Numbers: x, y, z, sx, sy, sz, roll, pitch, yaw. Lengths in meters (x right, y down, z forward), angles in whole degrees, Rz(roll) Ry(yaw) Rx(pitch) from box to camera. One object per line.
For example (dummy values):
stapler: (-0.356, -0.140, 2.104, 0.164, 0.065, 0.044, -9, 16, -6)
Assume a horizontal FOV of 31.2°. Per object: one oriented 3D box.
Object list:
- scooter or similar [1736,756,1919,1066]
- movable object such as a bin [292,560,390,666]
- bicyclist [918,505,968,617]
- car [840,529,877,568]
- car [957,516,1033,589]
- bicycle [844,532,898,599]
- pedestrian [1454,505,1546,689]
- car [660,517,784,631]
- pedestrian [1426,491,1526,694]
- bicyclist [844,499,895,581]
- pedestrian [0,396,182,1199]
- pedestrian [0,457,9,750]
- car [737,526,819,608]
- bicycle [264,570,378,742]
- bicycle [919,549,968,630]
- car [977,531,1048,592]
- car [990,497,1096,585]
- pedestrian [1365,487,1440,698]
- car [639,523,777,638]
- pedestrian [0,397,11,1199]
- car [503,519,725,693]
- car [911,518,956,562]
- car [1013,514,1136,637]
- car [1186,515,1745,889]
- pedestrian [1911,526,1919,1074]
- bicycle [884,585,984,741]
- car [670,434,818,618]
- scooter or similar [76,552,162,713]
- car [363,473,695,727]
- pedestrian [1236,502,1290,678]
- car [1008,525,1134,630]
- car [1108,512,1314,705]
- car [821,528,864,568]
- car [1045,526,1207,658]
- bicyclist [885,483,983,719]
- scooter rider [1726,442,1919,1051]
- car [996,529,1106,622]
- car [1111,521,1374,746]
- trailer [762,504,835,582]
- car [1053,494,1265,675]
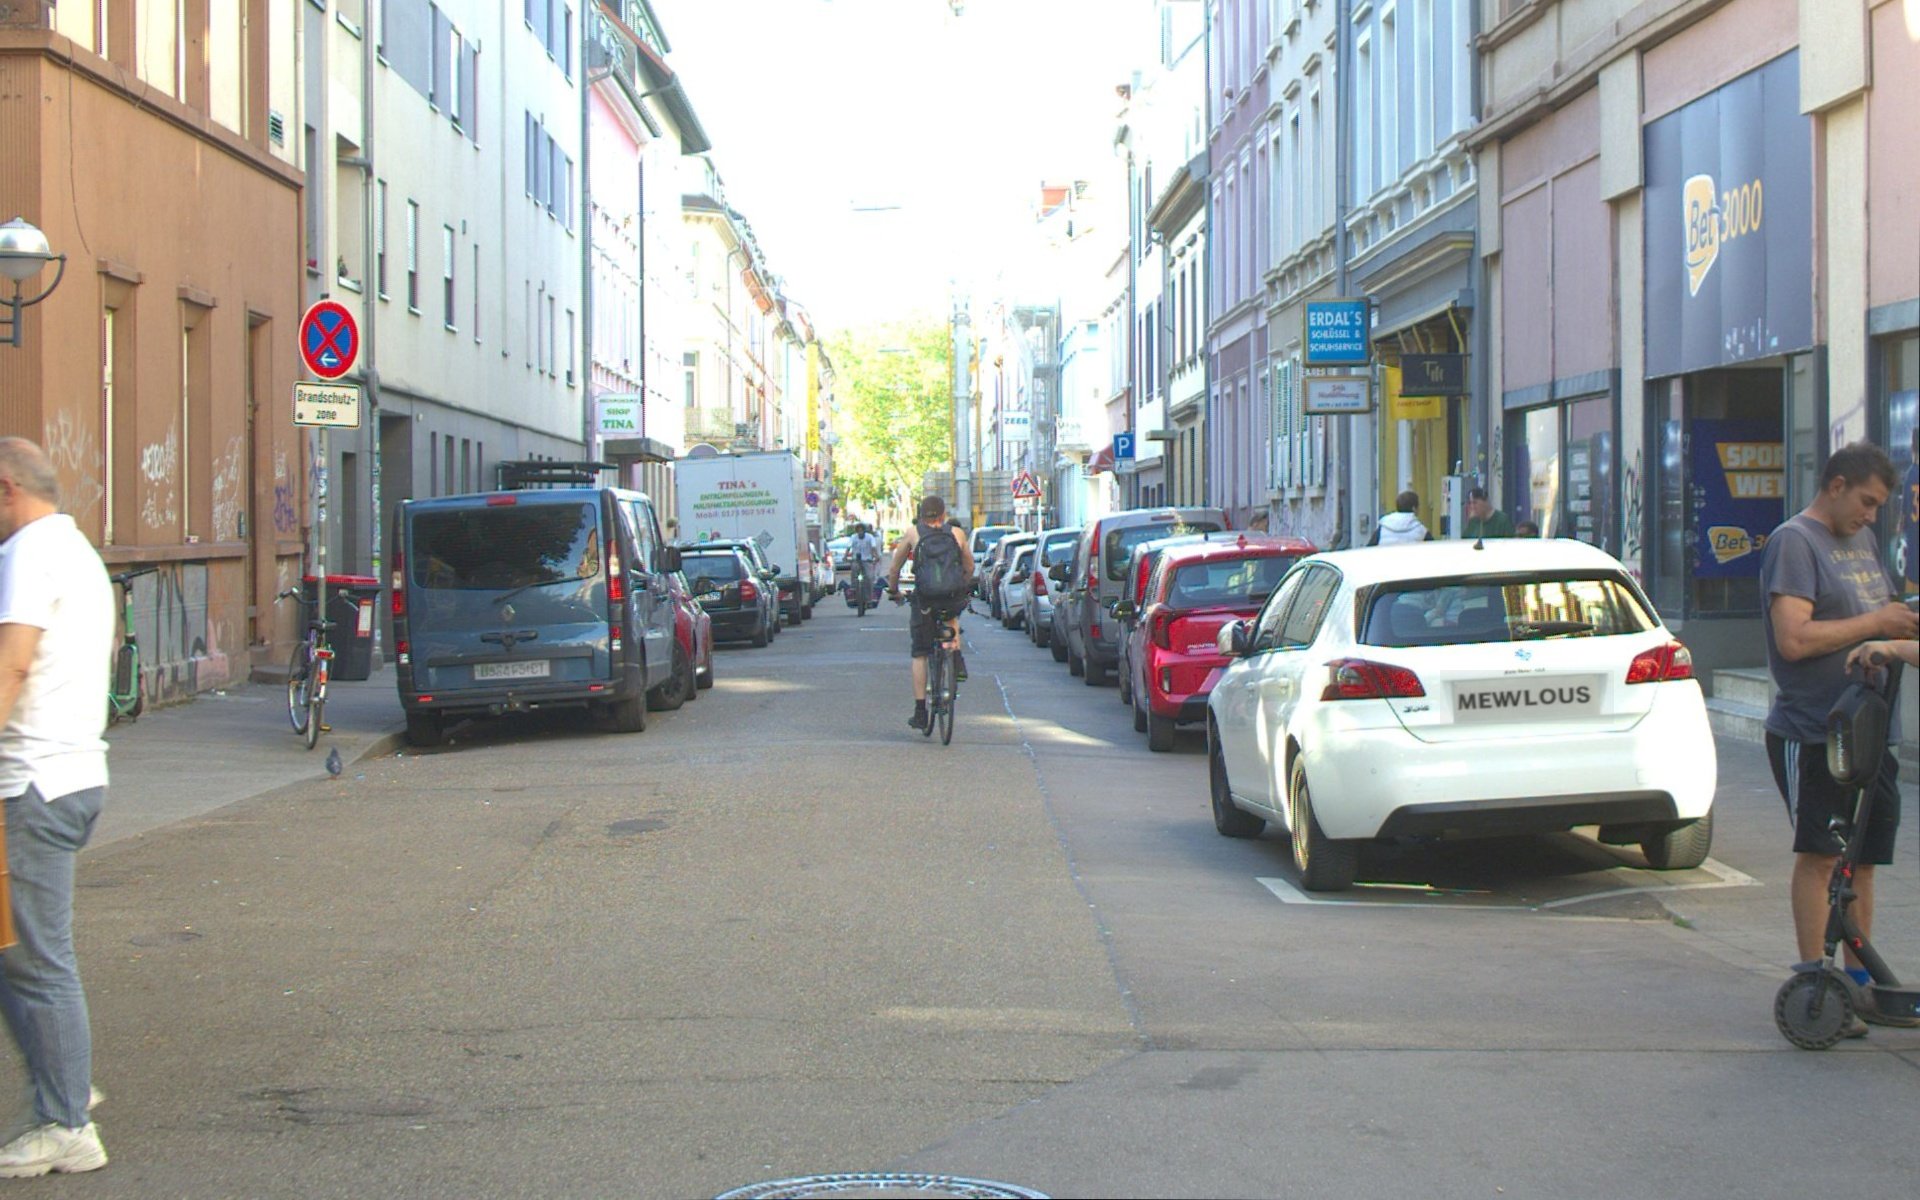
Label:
scooter or similar: (2.621, 0.906, 10.227, 0.393, 0.825, 0.926, 1, 1, 0)
movable object such as a bin: (-6.360, 0.129, 35.320, 0.760, 1.063, 0.651, 1, 0, 19)
bicyclist: (-0.249, -0.556, 48.936, 0.671, 1.562, 0.716, 1, 0, -2)
car: (-4.916, -2.492, 166.745, 1.750, 1.815, 3.796, -1, 1, -1)
car: (0.911, -1.276, 92.516, 1.750, 1.872, 3.973, -1, 1, -3)
bicycle: (-1.808, -0.717, 70.015, 0.977, 1.310, 2.555, -1, 1, 0)
pedestrian: (4.559, -0.028, 29.054, 0.587, 1.524, 0.659, 1, 0, -6)
car: (-3.797, -0.457, 55.412, 1.716, 1.644, 4.246, -3, 2, -1)
pedestrian: (4.466, -0.066, 29.779, 0.628, 1.734, 0.659, 1, 0, -14)
bicyclist: (-1.829, -1.211, 69.702, 0.950, 1.622, 0.953, -2, 1, 0)
pedestrian: (-2.271, 0.455, 8.011, 0.761, 1.829, 0.688, 1, 0, -3)
pedestrian: (-5.394, 0.153, 17.903, 0.646, 1.827, 0.697, 2, 0, -1)
car: (-4.232, -0.779, 80.505, 1.752, 1.810, 4.078, -2, 1, -2)
bicycle: (-4.737, 0.391, 25.414, 0.550, 1.212, 1.989, 1, 1, -18)
bicycle: (-0.245, -0.159, 48.938, 0.648, 1.125, 2.136, 1, 1, -1)
car: (1.327, -0.977, 87.459, 1.750, 1.481, 3.800, -1, 1, 0)
car: (1.639, -1.213, 69.240, 1.918, 1.700, 4.367, 0, 2, -1)
pedestrian: (3.686, -0.067, 28.634, 0.561, 1.734, 0.427, 1, 0, 12)
car: (-3.611, -0.320, 49.890, 1.716, 1.473, 4.499, -3, 2, -1)
pedestrian: (-2.424, 0.469, 7.049, 0.693, 1.819, 1.003, 1, 0, -3)
car: (-3.330, 0.041, 33.721, 1.750, 1.517, 3.869, -3, 0, -1)
car: (-0.987, -2.209, 126.168, 1.611, 1.554, 3.611, 0, 2, -1)
car: (1.632, -0.366, 49.948, 1.556, 1.706, 3.559, 1, 1, -1)
car: (2.211, 0.396, 16.156, 1.786, 1.511, 4.137, 1, 1, -3)
pedestrian: (3.059, 0.513, 9.643, 0.528, 1.633, 0.564, 1, 1, 44)
bicycle: (-0.204, 0.436, 25.085, 0.677, 1.071, 1.942, 1, 1, -1)
car: (-4.089, -1.386, 66.319, 2.343, 3.280, 7.154, -2, 1, 0)
scooter or similar: (-6.517, 0.236, 26.686, 0.347, 1.212, 1.392, 1, 1, -1)
car: (-3.430, -0.068, 28.378, 2.020, 1.873, 5.297, 1, 1, 0)
pedestrian: (2.966, -0.101, 33.692, 0.441, 1.698, 0.655, 1, 0, 0)
car: (1.735, -0.369, 54.951, 1.696, 1.538, 4.629, -2, 1, -1)
car: (2.194, 0.055, 30.715, 1.570, 1.551, 3.314, -3, 0, 1)
car: (-5.088, -2.234, 148.985, 1.750, 1.678, 3.796, -1, 1, -1)
car: (1.975, -0.112, 41.772, 1.552, 1.506, 3.612, 1, 1, -4)
bicyclist: (-0.199, 0.002, 25.115, 0.667, 1.671, 1.097, 1, 0, -1)
scooter rider: (2.715, 0.421, 10.403, 0.564, 1.772, 0.610, 1, 0, 34)
car: (1.575, -0.445, 60.826, 1.686, 1.538, 4.046, -2, 1, -1)
car: (2.074, 0.218, 26.080, 1.606, 1.567, 3.554, 1, 1, -1)
trailer: (-4.476, -1.577, 95.803, 1.882, 2.085, 3.737, -1, 1, -1)
car: (2.059, -0.181, 36.713, 1.899, 1.787, 4.315, 1, 1, -1)
